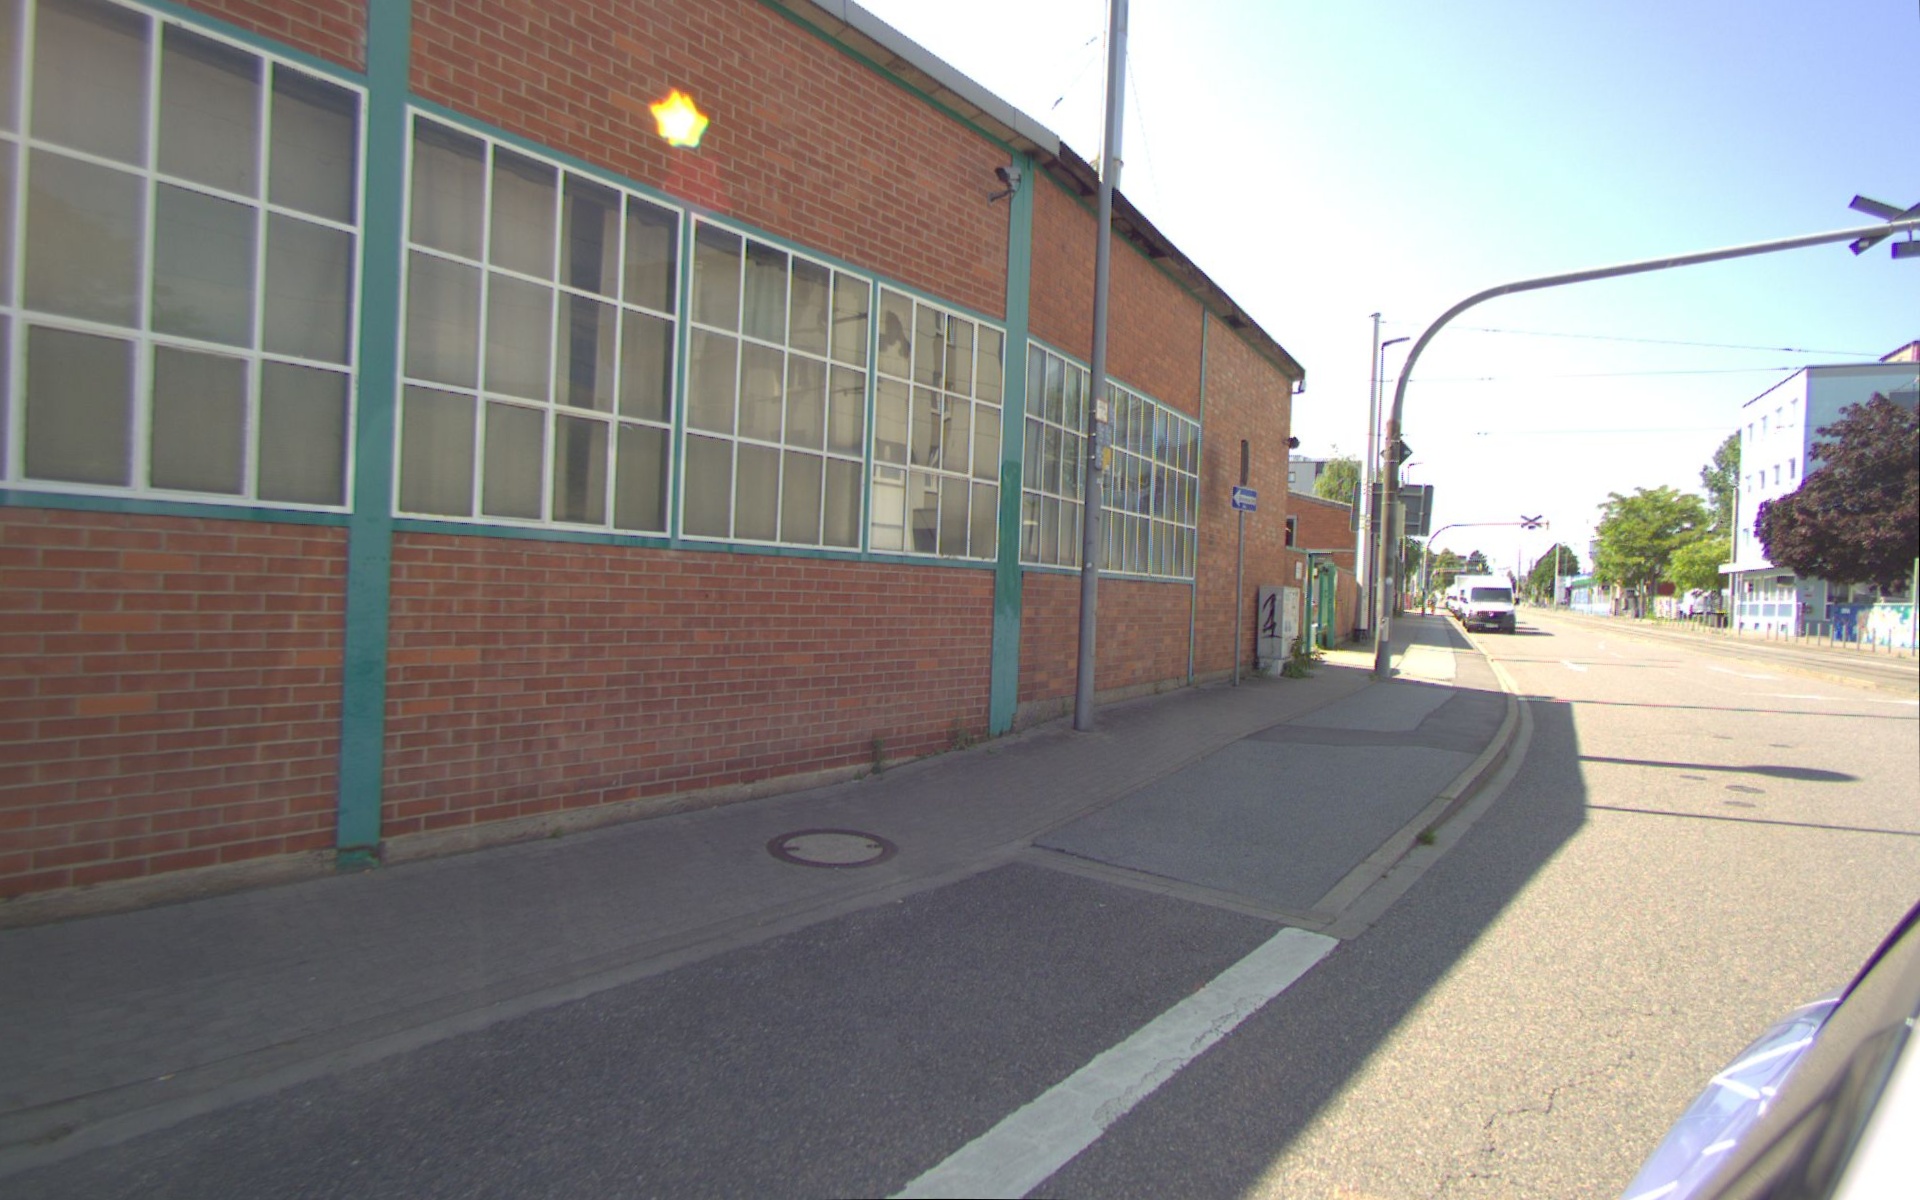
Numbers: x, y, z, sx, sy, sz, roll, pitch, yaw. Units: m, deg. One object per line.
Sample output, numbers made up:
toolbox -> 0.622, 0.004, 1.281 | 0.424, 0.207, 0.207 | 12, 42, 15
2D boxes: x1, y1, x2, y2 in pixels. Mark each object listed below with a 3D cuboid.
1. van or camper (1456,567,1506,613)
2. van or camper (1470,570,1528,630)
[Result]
van or camper -> 34.479, -0.674, 67.182 | 2.498, 2.821, 7.056 | 2, 1, 24
van or camper -> 25.002, -0.044, 47.103 | 2.023, 2.565, 5.818 | 2, 1, 25
